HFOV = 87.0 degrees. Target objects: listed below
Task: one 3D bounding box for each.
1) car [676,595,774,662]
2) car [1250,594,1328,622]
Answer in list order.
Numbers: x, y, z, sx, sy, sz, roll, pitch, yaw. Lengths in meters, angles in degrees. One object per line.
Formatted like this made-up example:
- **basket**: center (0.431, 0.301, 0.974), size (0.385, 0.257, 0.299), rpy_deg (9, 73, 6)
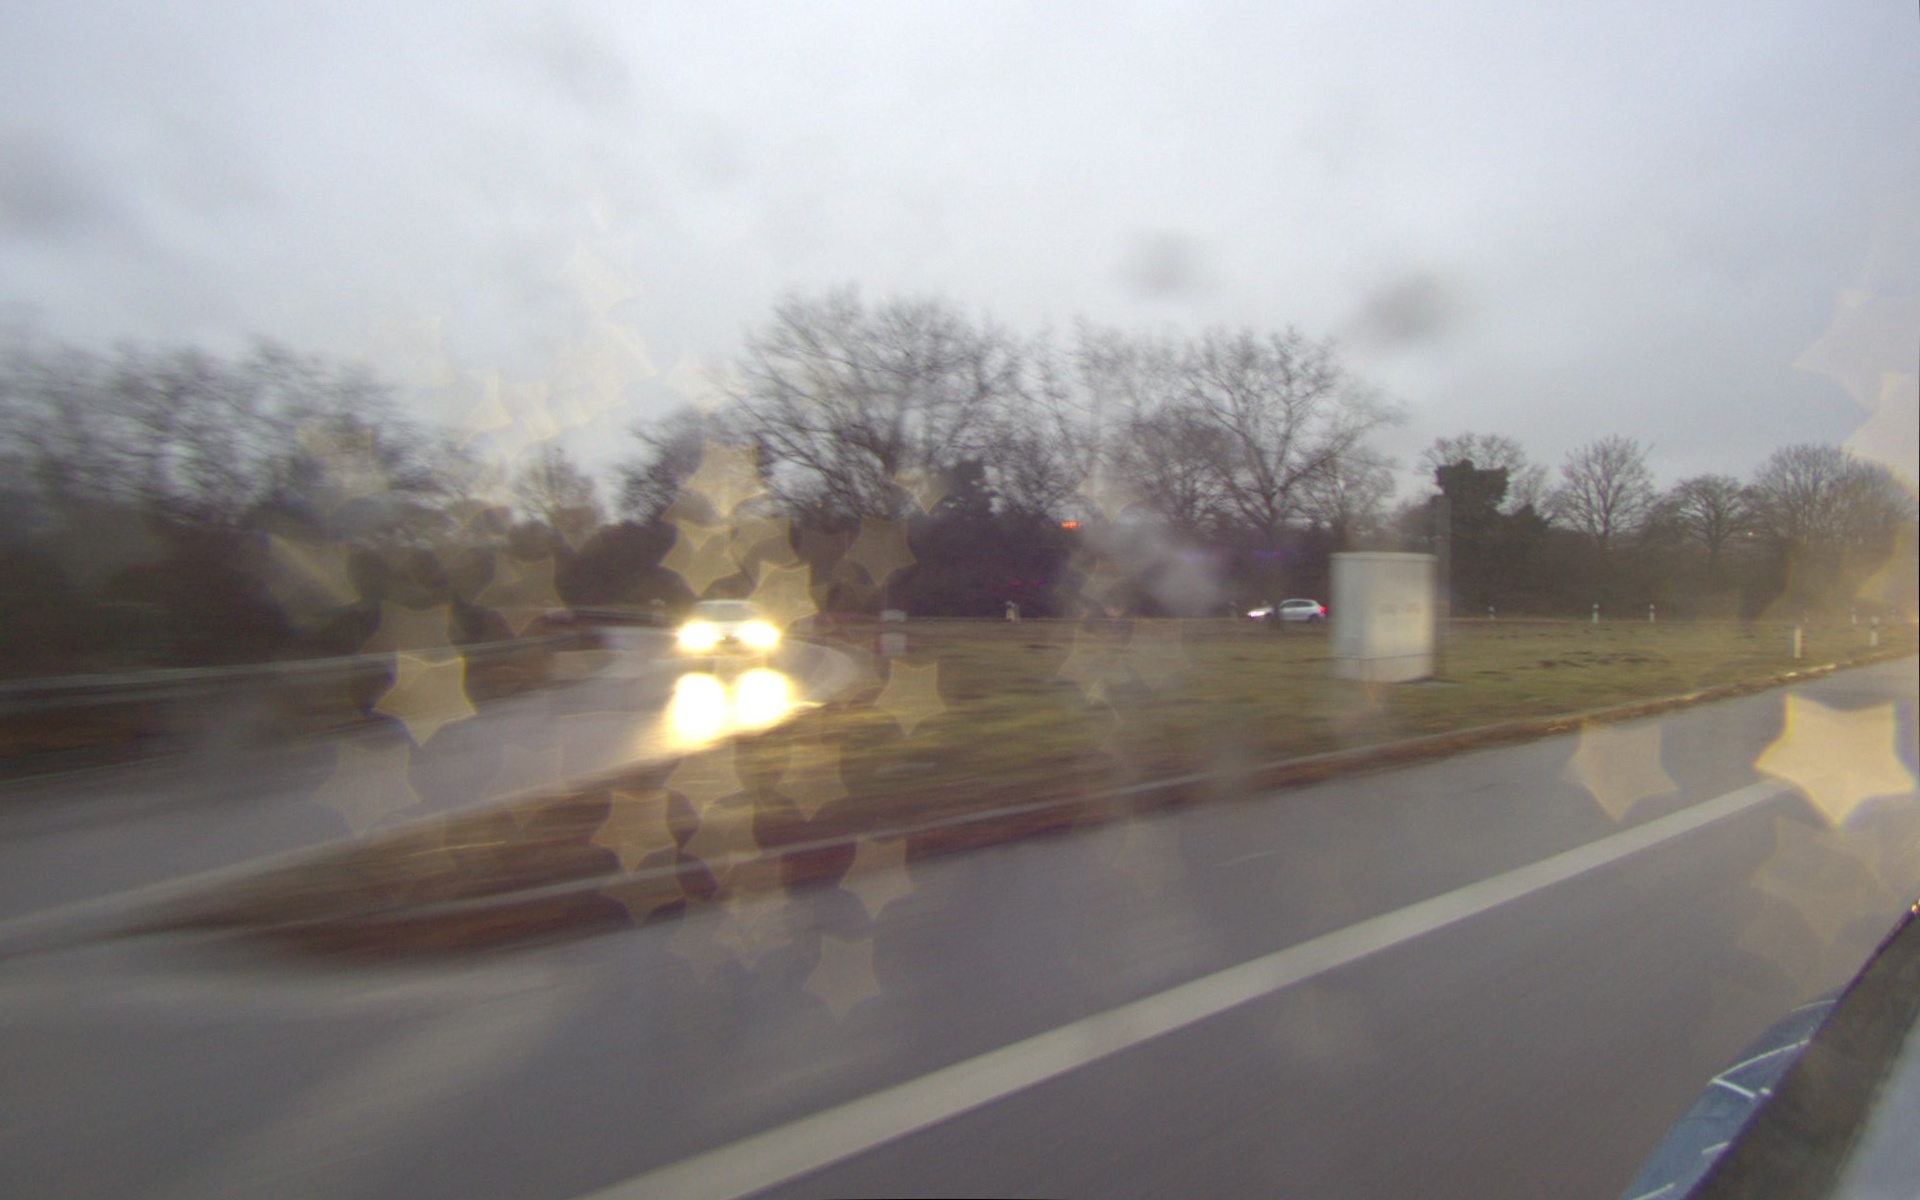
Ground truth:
- **car**: center (-5.334, 0.590, 23.488), size (1.896, 1.376, 4.404), rpy_deg (0, 0, -9)
- **car**: center (18.106, 0.433, 55.792), size (3.720, 1.452, 1.729), rpy_deg (1, 1, 2)
